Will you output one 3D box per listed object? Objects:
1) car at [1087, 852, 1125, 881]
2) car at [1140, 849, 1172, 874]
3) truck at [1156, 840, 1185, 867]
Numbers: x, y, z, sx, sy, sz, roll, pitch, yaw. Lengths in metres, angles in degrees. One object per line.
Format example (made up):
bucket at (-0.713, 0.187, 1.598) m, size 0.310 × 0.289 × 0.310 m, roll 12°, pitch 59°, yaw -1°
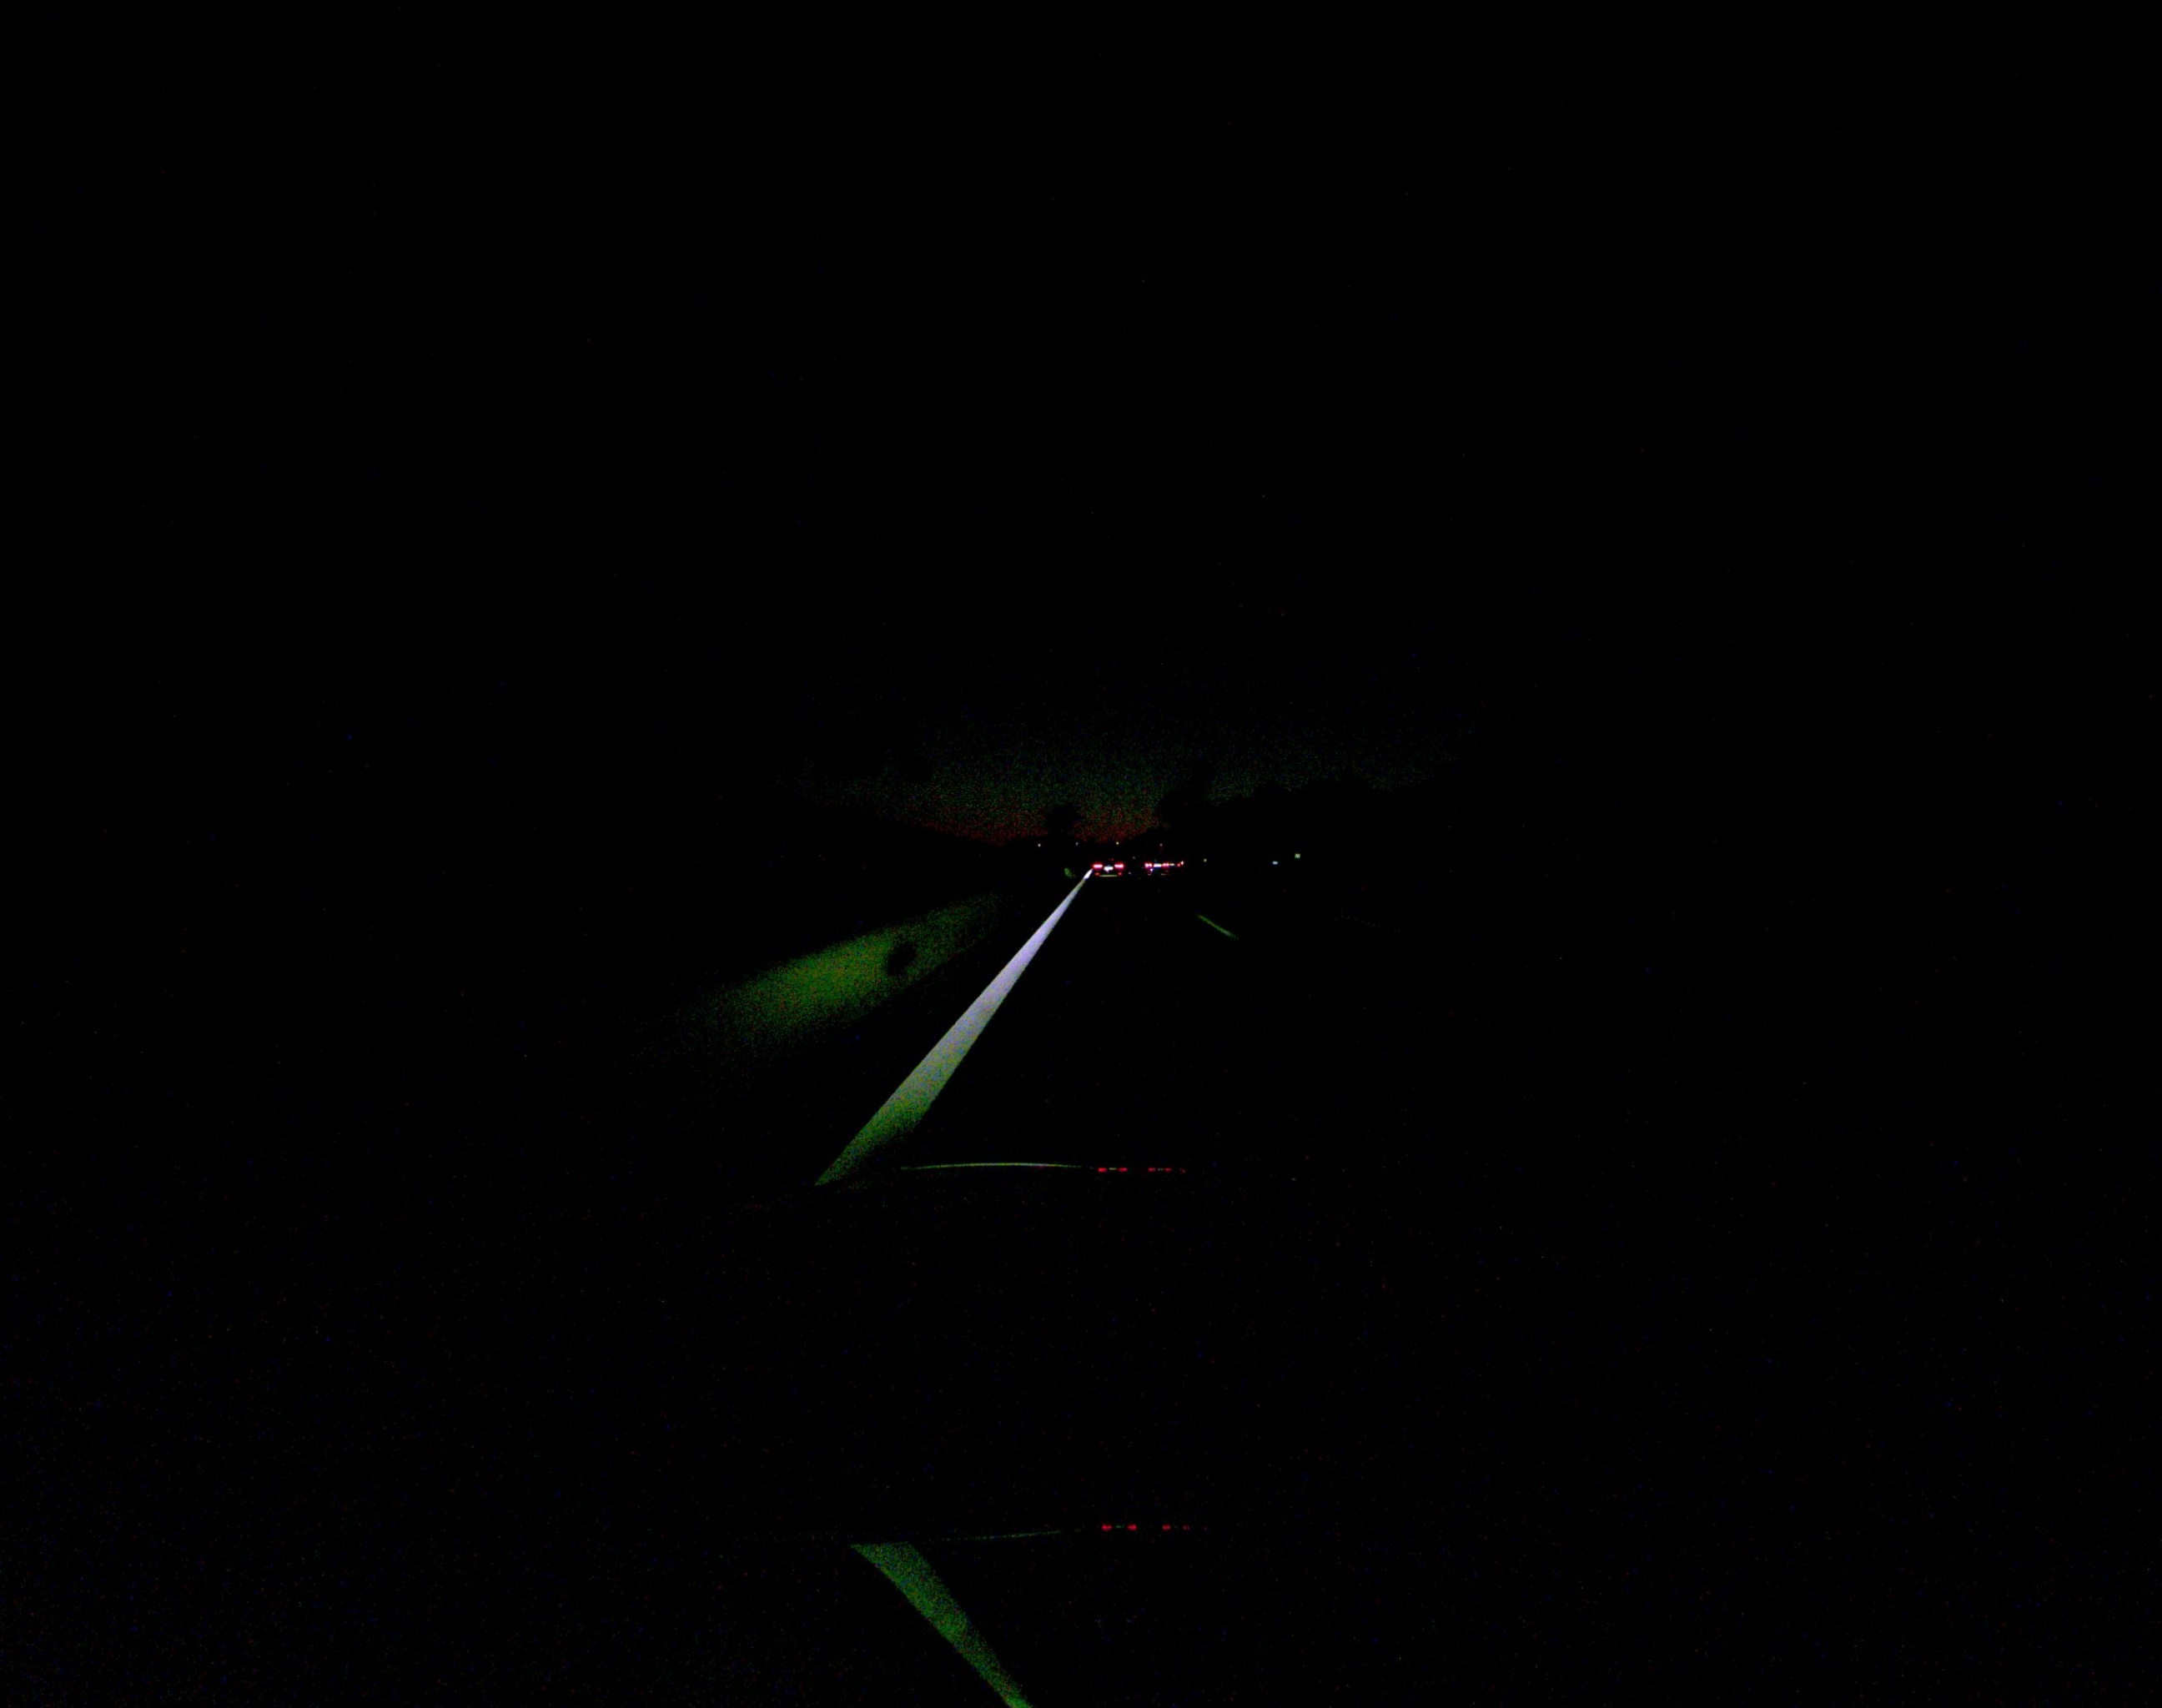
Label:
car at (1.425, 0.727, 48.087) m, size 2.099 × 1.618 × 4.204 m, roll 1°, pitch 0°, yaw 0°
car at (5.425, 0.519, 59.200) m, size 1.905 × 1.730 × 3.999 m, roll 0°, pitch 0°, yaw 0°
truck at (10.735, -0.054, 97.818) m, size 2.594 × 2.875 × 7.486 m, roll 4°, pitch 0°, yaw 1°
